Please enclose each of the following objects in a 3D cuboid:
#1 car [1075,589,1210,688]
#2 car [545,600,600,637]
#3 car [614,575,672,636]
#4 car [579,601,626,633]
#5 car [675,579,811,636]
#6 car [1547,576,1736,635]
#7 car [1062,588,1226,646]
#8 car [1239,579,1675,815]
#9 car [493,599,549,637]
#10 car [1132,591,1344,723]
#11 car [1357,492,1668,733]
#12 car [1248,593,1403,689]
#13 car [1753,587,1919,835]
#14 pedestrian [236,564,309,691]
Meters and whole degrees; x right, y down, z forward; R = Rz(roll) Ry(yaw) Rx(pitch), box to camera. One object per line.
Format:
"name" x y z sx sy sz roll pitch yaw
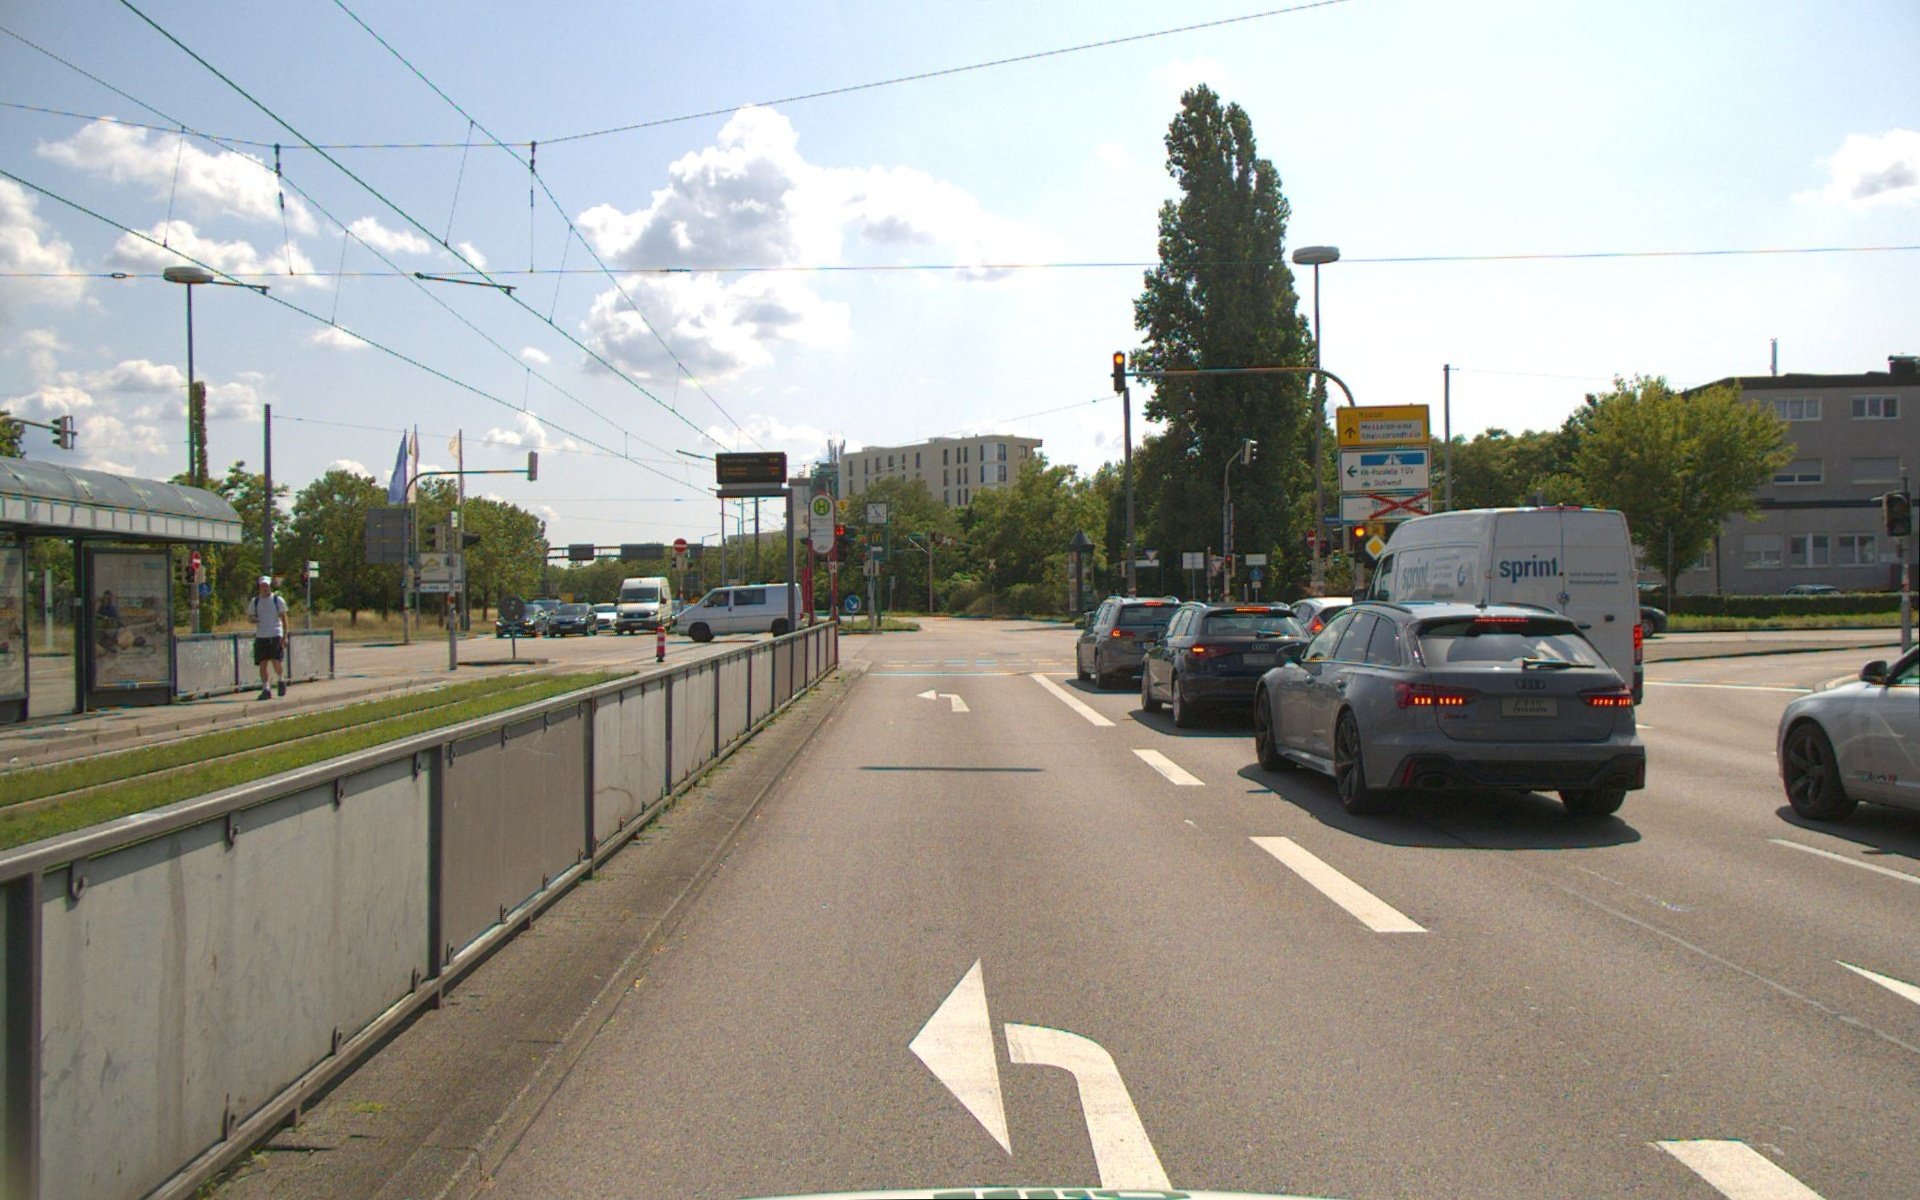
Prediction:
"car" 3.014 0.602 28.058 1.709 1.525 4.378 0 0 -1
"car" -17.560 0.829 75.052 1.859 1.568 3.725 1 0 -5
"car" -14.541 0.259 76.059 1.954 2.651 4.875 1 0 -3
"car" -18.046 0.846 83.649 1.767 1.568 4.160 1 0 -5
"car" -7.642 0.255 58.582 4.581 1.970 1.999 0 0 -1
"car" 19.349 0.156 47.129 4.576 1.576 2.001 -1 0 4
"car" 5.134 0.475 46.545 4.368 1.540 2.000 1 0 0
"car" 3.565 0.616 12.903 1.849 1.473 4.827 1 0 -1
"car" -20.476 0.829 77.245 1.826 1.680 3.995 1 0 -5
"car" 3.306 0.629 20.427 1.832 1.444 4.098 1 0 -1
"car" 6.644 0.131 20.617 1.999 2.602 5.229 0 0 -2
"car" 6.077 0.645 27.974 1.709 1.473 4.380 1 0 1
"car" 6.793 0.683 9.939 1.817 1.518 4.534 0 0 -1
"pedestrian" -10.108 0.396 24.322 0.791 1.826 0.708 0 0 -4
